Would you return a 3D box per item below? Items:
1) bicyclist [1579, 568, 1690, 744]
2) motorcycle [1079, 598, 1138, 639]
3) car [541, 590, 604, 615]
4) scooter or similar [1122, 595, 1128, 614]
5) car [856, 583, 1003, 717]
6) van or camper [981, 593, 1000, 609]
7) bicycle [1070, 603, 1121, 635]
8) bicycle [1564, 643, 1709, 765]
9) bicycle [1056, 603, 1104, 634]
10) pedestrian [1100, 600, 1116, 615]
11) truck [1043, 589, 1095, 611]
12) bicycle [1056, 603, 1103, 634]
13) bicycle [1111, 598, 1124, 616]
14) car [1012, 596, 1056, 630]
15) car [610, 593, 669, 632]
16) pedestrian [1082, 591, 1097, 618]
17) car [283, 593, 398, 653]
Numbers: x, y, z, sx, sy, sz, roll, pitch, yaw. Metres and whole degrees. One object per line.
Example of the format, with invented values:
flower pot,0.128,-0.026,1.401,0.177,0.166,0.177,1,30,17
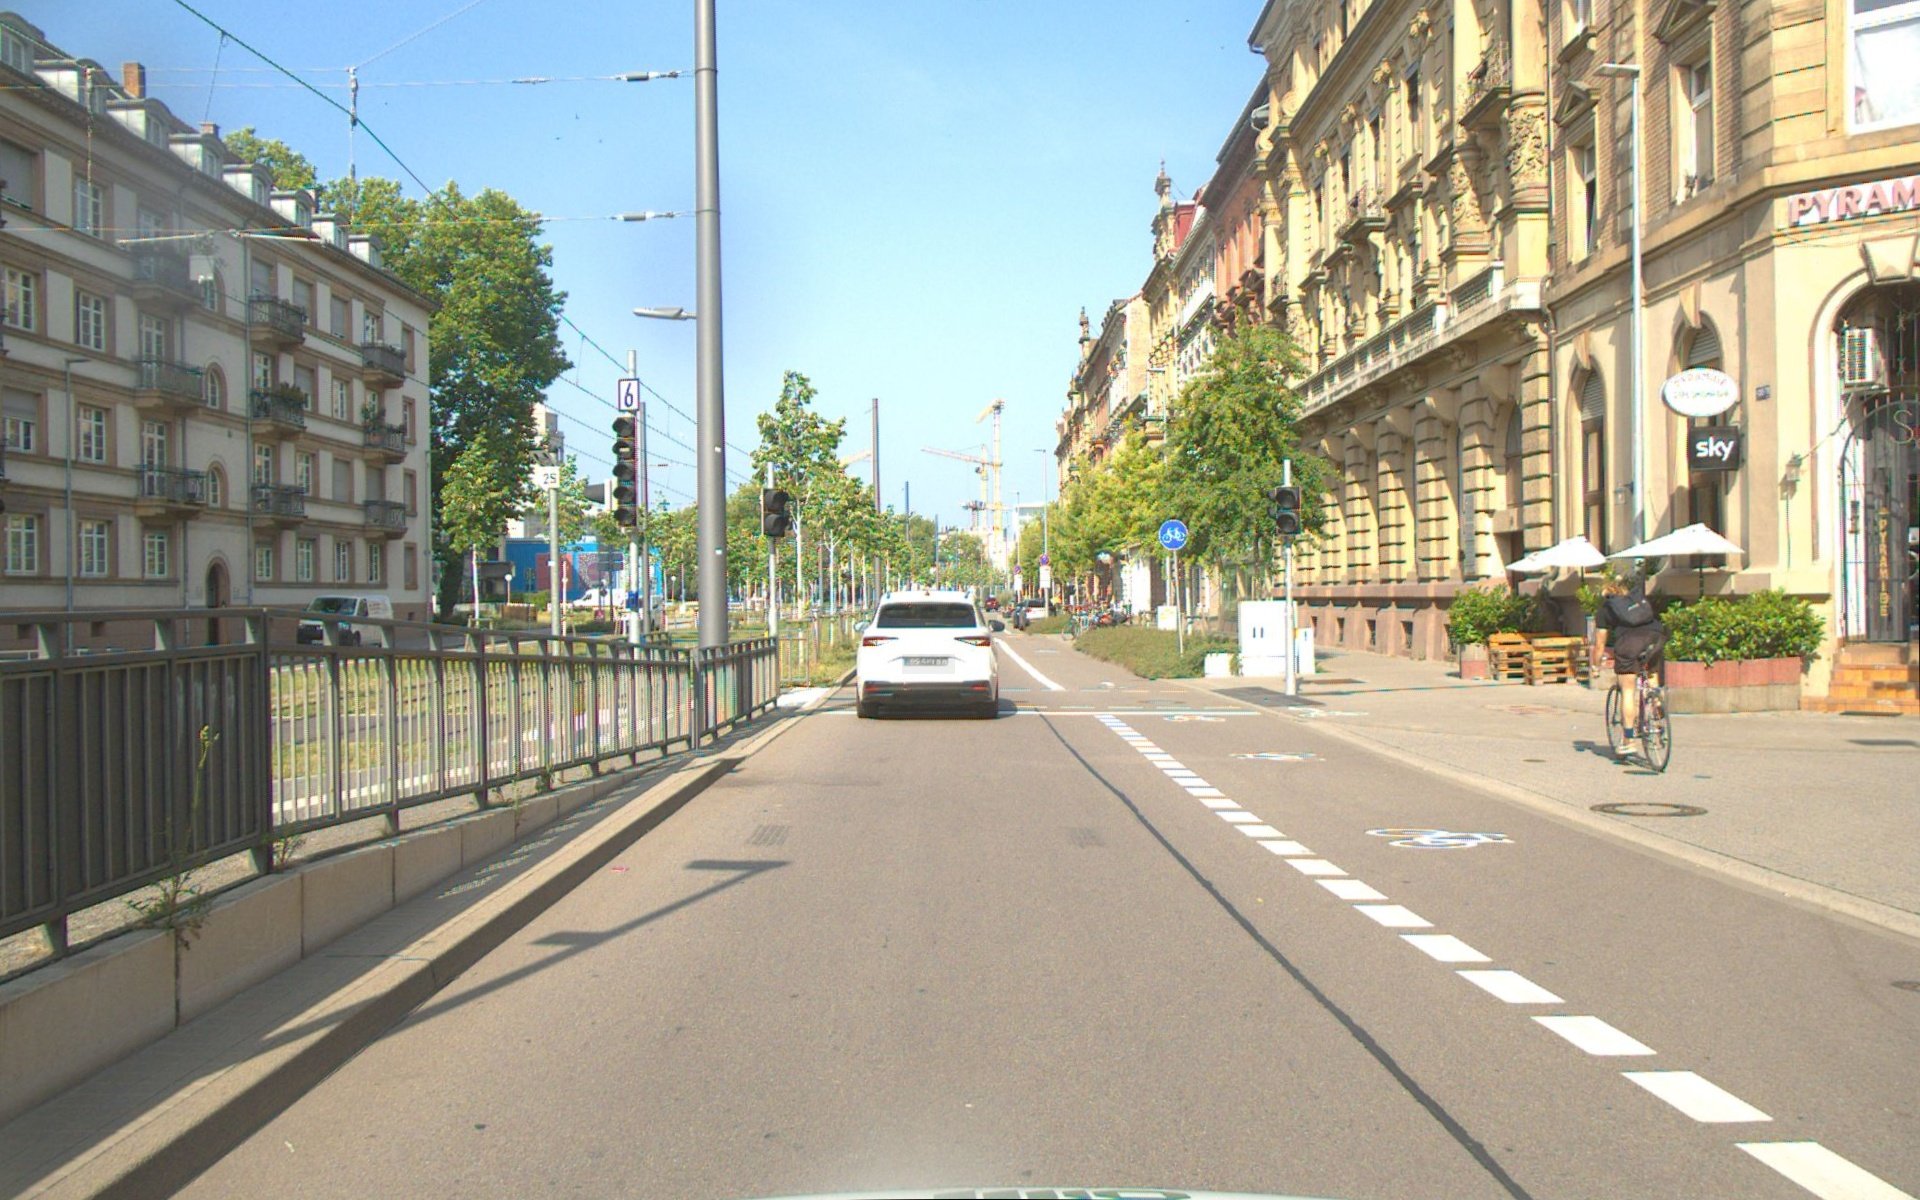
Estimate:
bicyclist,5.968,0.483,14.678,0.572,1.508,0.931,0,0,-3
motorcycle,5.155,0.625,57.360,2.016,1.309,0.697,-3,1,-33
car,-44.692,0.258,190.558,6.776,2.685,2.498,2,-1,-21
scooter or similar,9.755,0.265,97.795,0.282,1.154,1.089,-1,0,5
car,-0.373,0.598,22.224,1.780,1.617,4.406,0,0,0
van or camper,3.255,0.092,177.976,1.953,1.684,3.999,-1,0,-1
bicycle,5.028,0.708,61.517,1.772,1.115,0.671,-3,0,-6
bicycle,5.976,0.889,14.704,0.495,0.970,1.784,0,0,-2
bicycle,4.564,0.703,62.749,1.749,1.072,0.372,-3,0,-2
pedestrian,9.605,0.478,107.324,0.860,0.892,0.710,-3,0,-4
truck,12.100,-0.014,184.199,5.747,2.358,2.221,-1,0,3
bicycle,4.565,0.705,63.167,1.749,1.072,0.372,-3,0,-2
bicycle,9.861,0.446,103.265,0.442,1.102,1.445,-1,0,-9
car,3.725,0.632,84.297,1.734,1.616,4.245,-2,0,-4
car,-16.411,0.609,84.884,1.953,1.928,5.046,-1,0,0
pedestrian,8.320,0.295,106.188,0.807,1.726,0.792,-3,0,-4
car,-21.161,0.742,56.736,1.952,1.951,5.153,1,0,0
